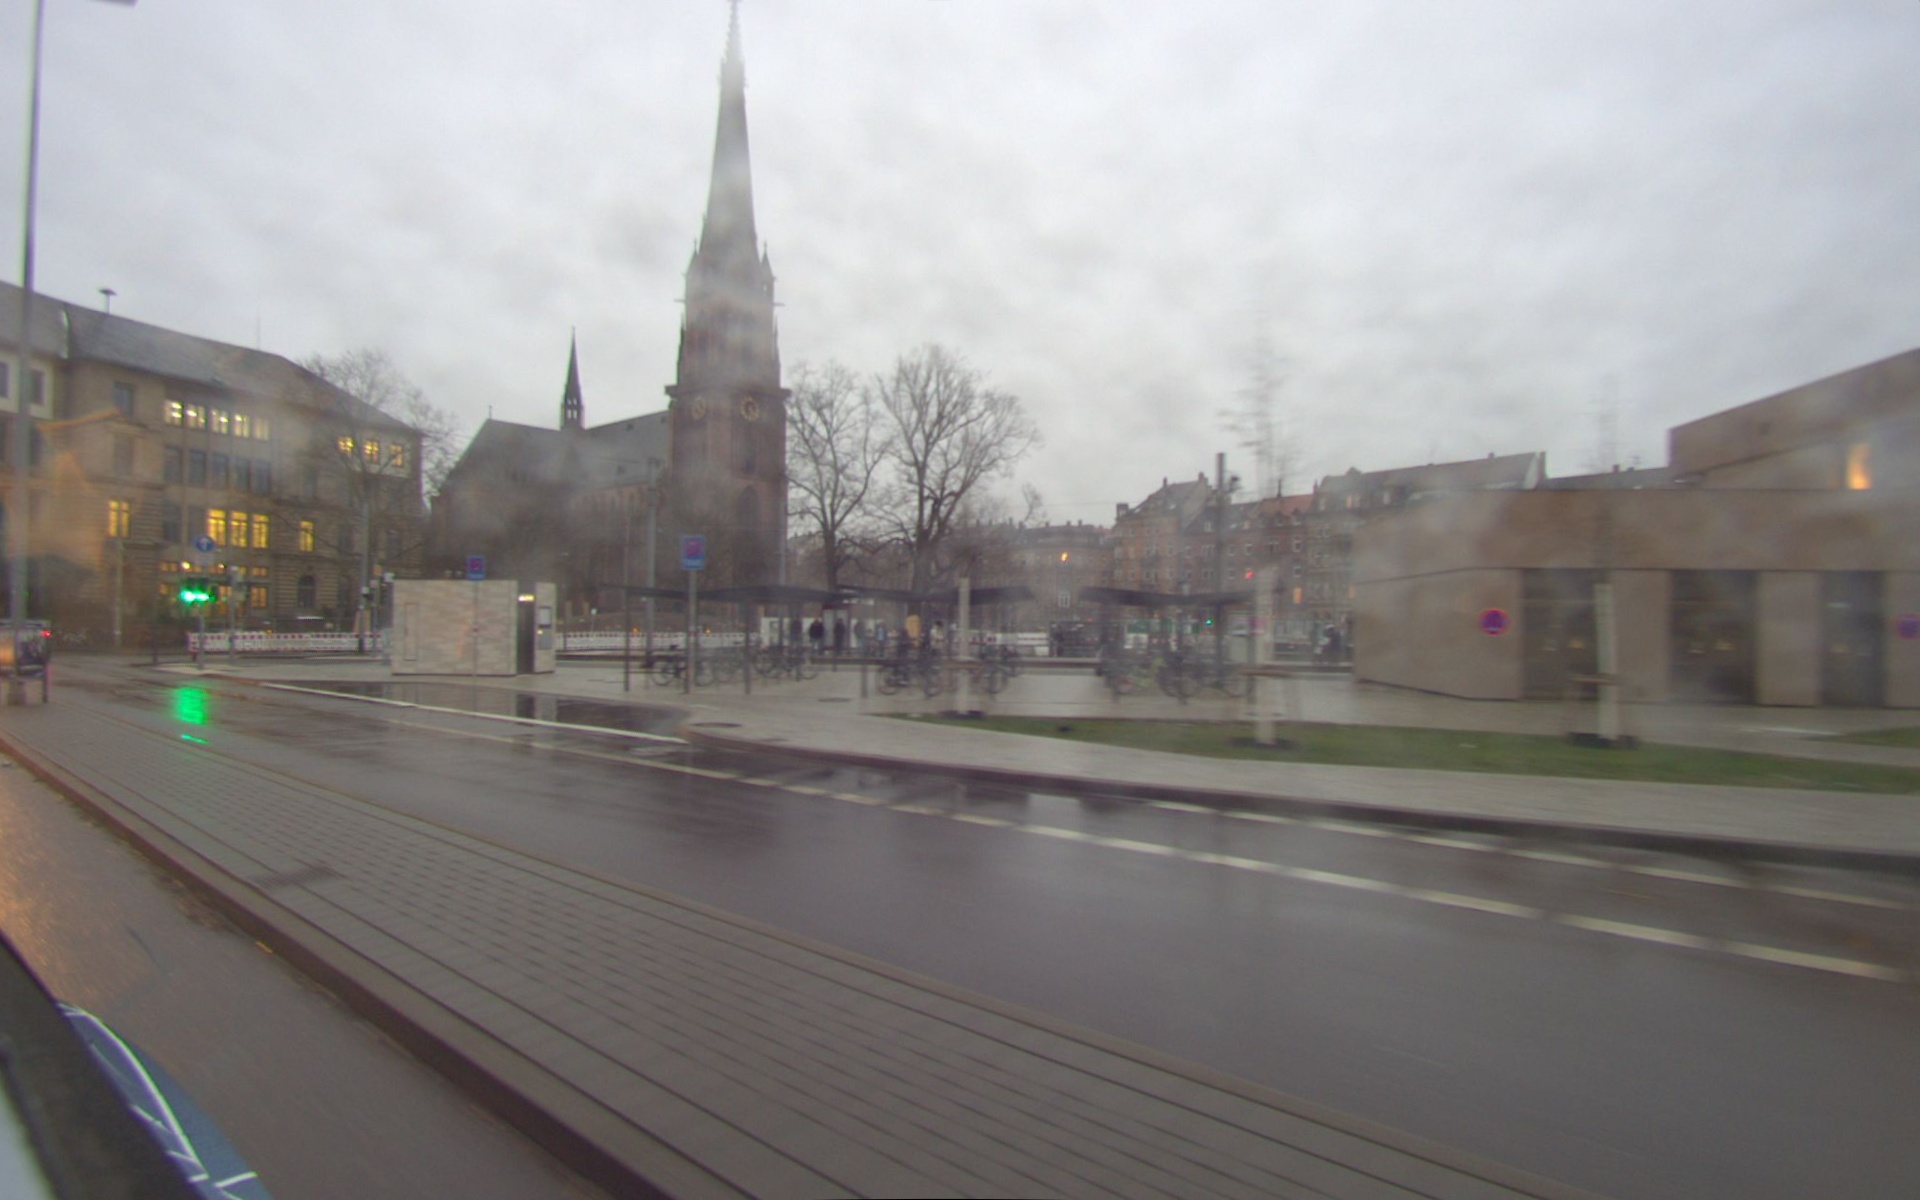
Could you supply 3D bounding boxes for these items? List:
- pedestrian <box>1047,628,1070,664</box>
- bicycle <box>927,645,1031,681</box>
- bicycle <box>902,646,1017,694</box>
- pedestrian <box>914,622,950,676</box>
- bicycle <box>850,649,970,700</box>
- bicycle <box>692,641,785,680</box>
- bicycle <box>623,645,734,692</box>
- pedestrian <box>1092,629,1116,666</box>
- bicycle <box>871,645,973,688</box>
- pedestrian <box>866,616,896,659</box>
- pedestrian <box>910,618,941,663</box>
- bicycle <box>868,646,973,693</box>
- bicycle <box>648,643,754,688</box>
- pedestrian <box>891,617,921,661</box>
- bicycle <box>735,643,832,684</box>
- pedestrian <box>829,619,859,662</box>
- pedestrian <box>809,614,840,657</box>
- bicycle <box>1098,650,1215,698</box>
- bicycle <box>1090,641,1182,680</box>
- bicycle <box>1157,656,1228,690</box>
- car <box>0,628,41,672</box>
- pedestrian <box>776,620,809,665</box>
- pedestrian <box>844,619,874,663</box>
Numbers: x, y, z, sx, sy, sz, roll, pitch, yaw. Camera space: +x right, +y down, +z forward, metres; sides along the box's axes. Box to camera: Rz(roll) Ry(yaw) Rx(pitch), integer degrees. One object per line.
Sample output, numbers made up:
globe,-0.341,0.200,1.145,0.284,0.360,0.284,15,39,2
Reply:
pedestrian,5.057,2.353,51.974,0.808,1.844,0.935,-2,-3,41
bicycle,0.590,1.921,30.968,3.155,1.058,0.793,0,-2,6
bicycle,-0.008,1.721,24.840,2.720,1.113,0.645,-1,0,10
pedestrian,-0.906,1.592,33.193,0.848,1.693,0.805,1,3,41
bicycle,-1.176,1.753,23.825,2.720,1.113,0.645,-1,0,10
bicycle,-6.737,1.850,30.821,2.718,1.113,0.645,-1,0,7
bicycle,-7.182,1.754,25.855,2.720,1.113,0.645,-1,0,10
pedestrian,7.209,2.388,50.670,0.808,1.844,0.935,-2,-3,41
bicycle,-1.017,1.784,27.295,2.713,1.113,0.647,0,0,1
pedestrian,-3.491,1.638,44.839,0.848,1.864,1.021,-2,0,41
pedestrian,-1.477,1.728,43.545,0.848,1.864,1.021,-2,0,41
bicycle,-1.024,1.820,26.513,2.712,1.113,0.647,-1,0,1
bicycle,-6.905,1.748,27.011,2.720,1.113,0.645,-1,0,10
pedestrian,-2.359,1.688,44.242,0.848,1.864,1.021,-2,0,41
bicycle,-5.123,1.839,29.360,2.720,1.113,0.645,-1,0,10
pedestrian,-5.106,1.776,44.586,0.848,1.864,1.021,-2,-3,41
pedestrian,-6.011,1.587,44.923,0.848,1.864,1.021,-2,-3,41
bicycle,4.764,1.787,24.630,2.714,1.113,0.607,0,0,3
bicycle,5.333,1.850,30.774,2.720,1.113,0.645,-1,0,10
bicycle,6.338,1.995,27.653,1.841,0.878,0.605,0,-3,6
car,-36.342,1.886,38.570,4.000,1.607,1.655,-2,-2,43
pedestrian,-7.276,1.850,44.069,0.848,1.864,1.036,-2,1,41
pedestrian,-4.399,1.785,44.022,0.802,1.864,1.021,-1,-3,41
